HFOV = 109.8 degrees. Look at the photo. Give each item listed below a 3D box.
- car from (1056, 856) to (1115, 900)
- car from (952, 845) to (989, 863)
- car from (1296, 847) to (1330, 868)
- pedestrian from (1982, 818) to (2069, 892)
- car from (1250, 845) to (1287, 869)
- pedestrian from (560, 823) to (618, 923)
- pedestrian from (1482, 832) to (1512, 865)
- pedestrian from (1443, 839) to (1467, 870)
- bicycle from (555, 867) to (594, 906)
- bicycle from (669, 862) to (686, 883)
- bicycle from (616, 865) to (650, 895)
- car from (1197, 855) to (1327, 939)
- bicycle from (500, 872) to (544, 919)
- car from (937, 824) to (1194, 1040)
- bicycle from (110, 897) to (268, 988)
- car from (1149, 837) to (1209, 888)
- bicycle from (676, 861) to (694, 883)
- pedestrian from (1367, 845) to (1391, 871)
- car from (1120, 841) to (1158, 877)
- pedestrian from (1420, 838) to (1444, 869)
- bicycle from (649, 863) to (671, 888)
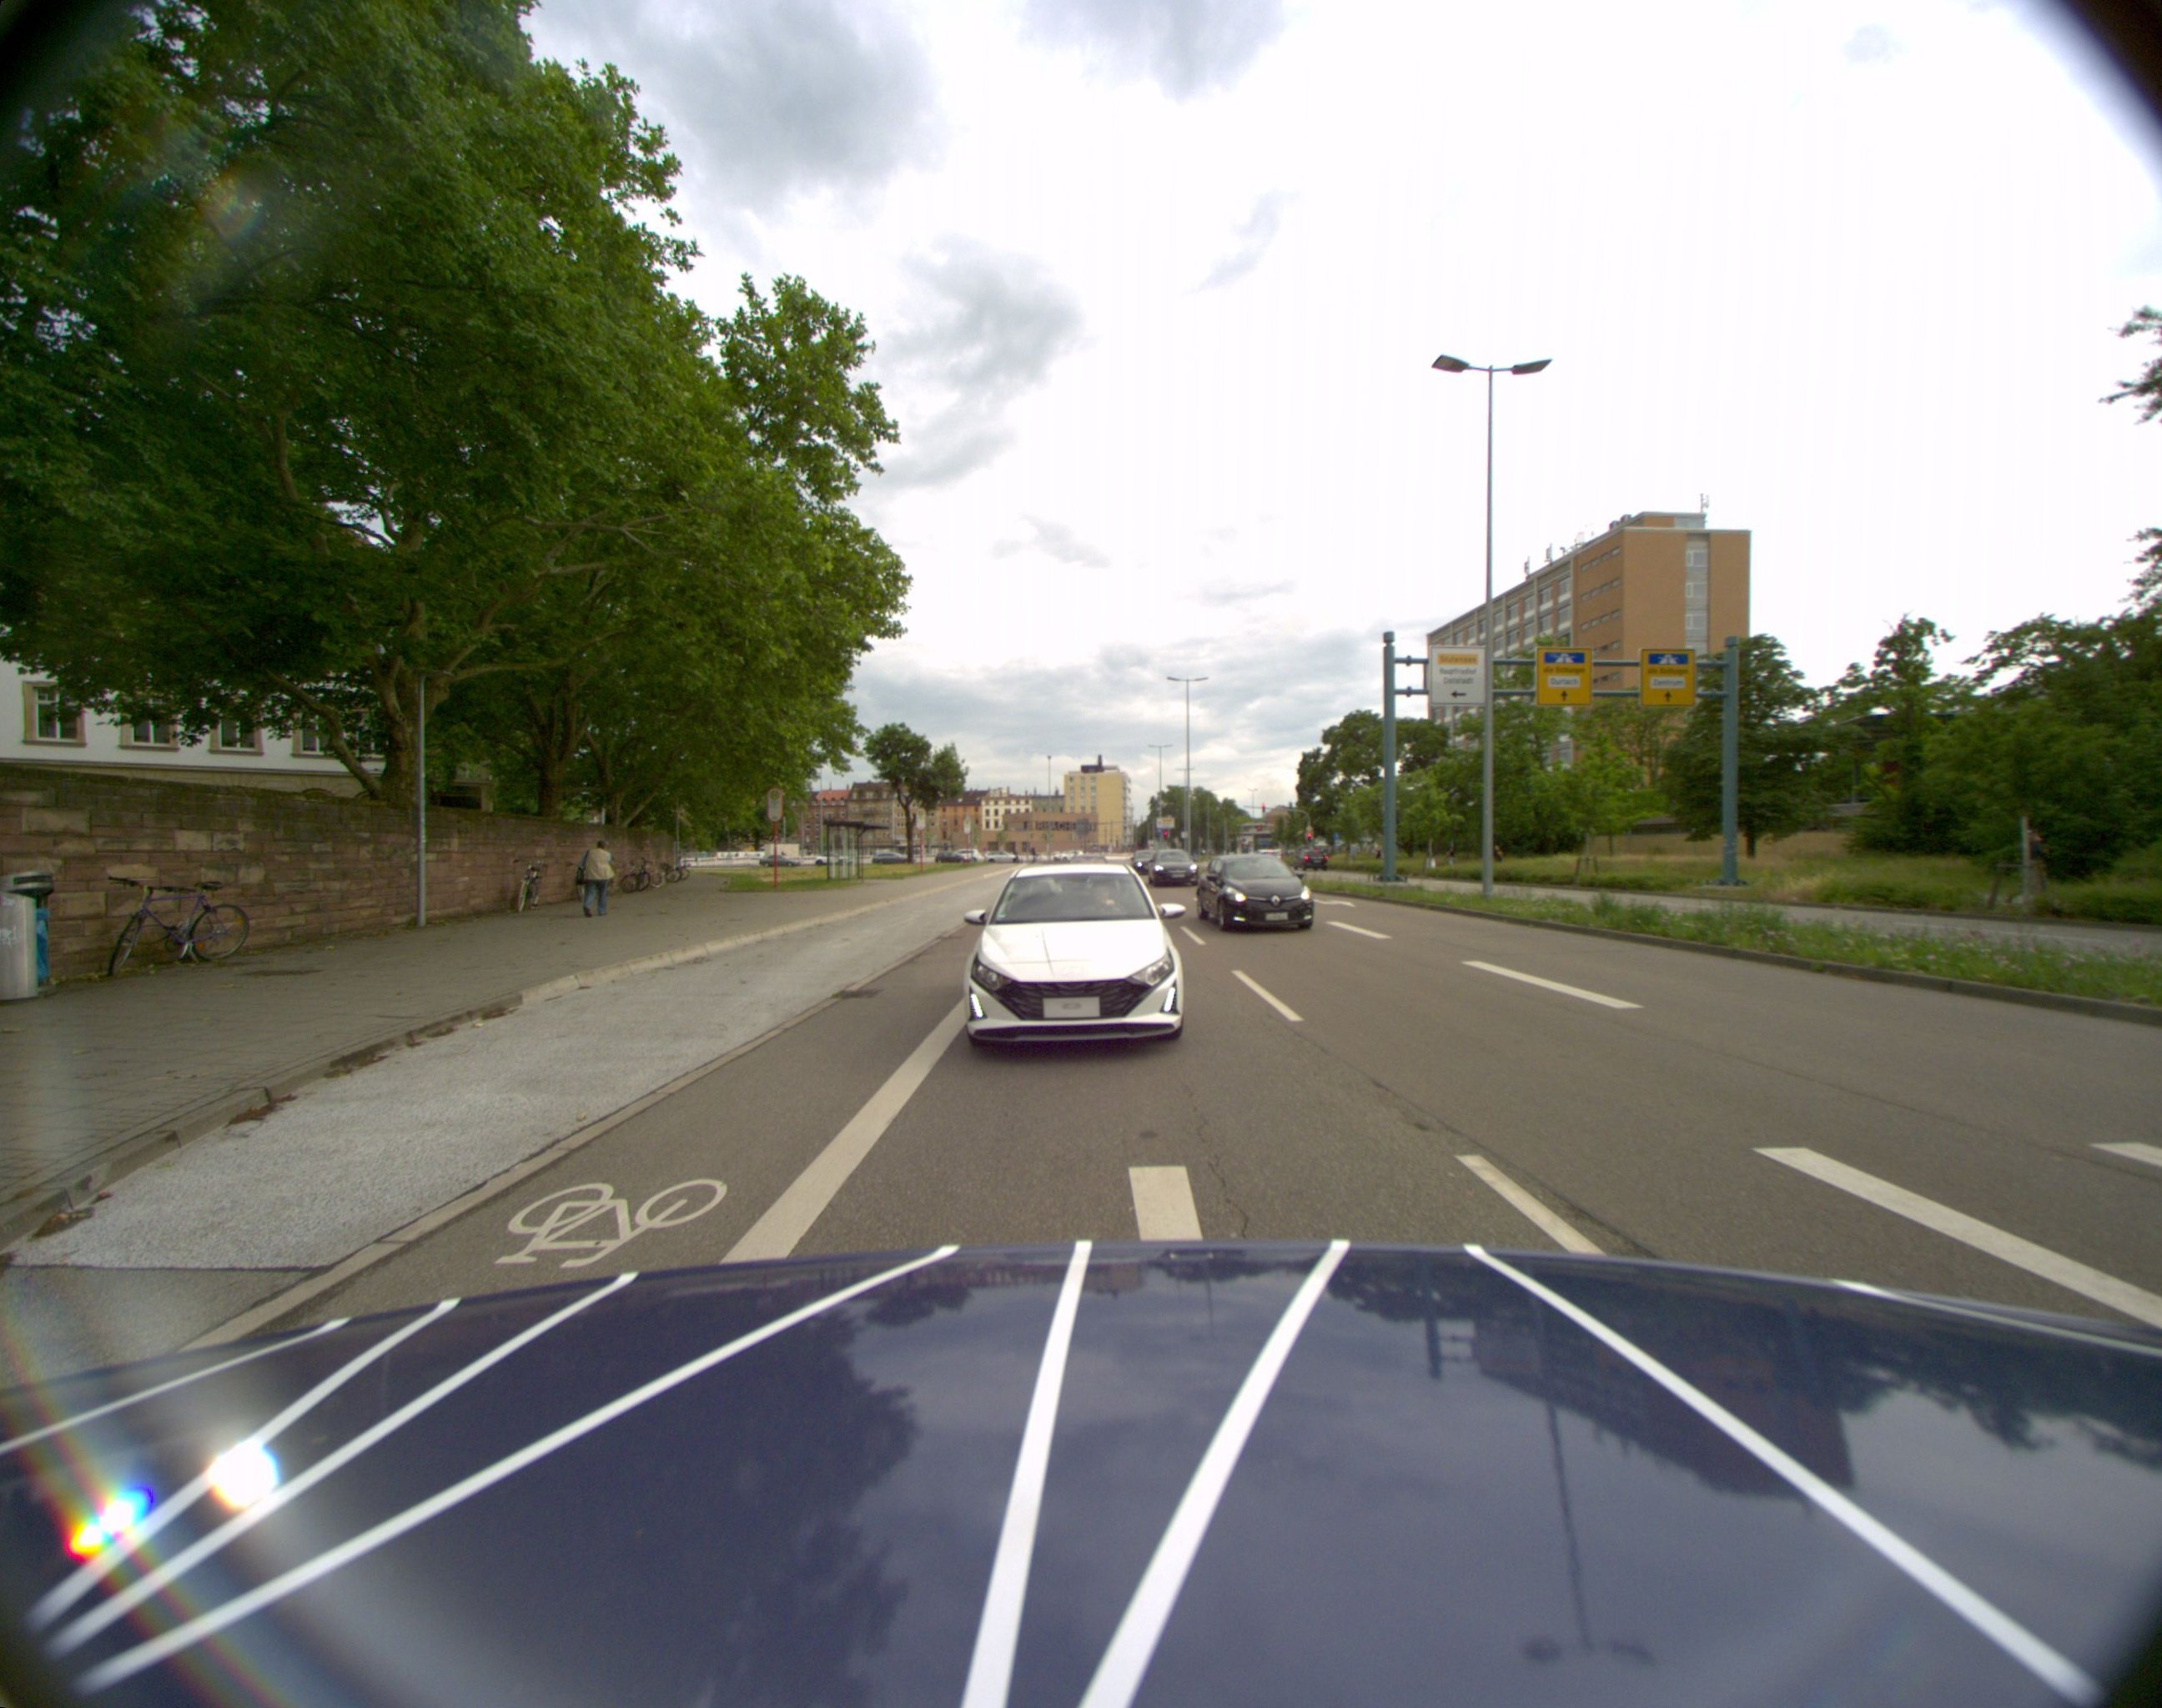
[{"bbox_3d":[0.176,0.800,27.587,1.998,1.422,4.000,0,1,1],"label":"car"},{"bbox_3d":[-13.577,0.025,93.307,4.286,2.002,1.998,-2,1,-13],"label":"car"},{"bbox_3d":[17.982,0.226,59.014,1.854,1.543,4.002,-1,1,7],"label":"car"},{"bbox_3d":[21.560,0.015,17.358,0.990,1.616,0.813,-2,1,-2],"label":"pedestrian"},{"bbox_3d":[14.825,0.236,60.151,1.893,1.763,3.999,-2,1,0],"label":"car"},{"bbox_3d":[-10.231,0.383,15.824,0.784,2.002,0.888,0,0,-17],"label":"pedestrian"},{"bbox_3d":[25.367,-0.334,46.348,1.137,1.908,1.162,-2,1,4],"label":"pedestrian"},{"bbox_3d":[25.065,0.017,50.930,0.882,2.002,1.220,-2,1,-7],"label":"pedestrian"},{"bbox_3d":[-13.659,0.851,20.518,0.482,0.934,1.895,-1,1,-22],"label":"bicycle"},{"bbox_3d":[-18.989,0.865,35.779,0.561,0.934,1.351,-1,1,-22],"label":"bicycle"},{"bbox_3d":[-15.172,0.859,25.770,0.655,0.934,1.953,-1,1,-22],"label":"bicycle"},{"bbox_3d":[3.520,0.766,15.497,1.732,1.450,4.000,0,1,1],"label":"car"},{"bbox_3d":[-12.405,0.902,16.892,0.365,0.934,1.638,-1,1,-21],"label":"bicycle"},{"bbox_3d":[-0.079,0.535,7.372,1.813,1.533,4.000,0,1,1],"label":"car"},{"bbox_3d":[-10.618,1.014,9.115,0.291,0.880,1.609,0,1,-12],"label":"bicycle"},{"bbox_3d":[3.984,0.313,31.547,1.998,2.002,4.000,0,1,1],"label":"car"},{"bbox_3d":[-20.589,0.916,39.522,0.693,1.078,1.650,-1,1,-22],"label":"bicycle"},{"bbox_3d":[23.831,0.302,60.818,1.223,2.002,1.520,-2,1,0],"label":"pedestrian"},{"bbox_3d":[3.393,0.259,45.040,1.998,2.002,4.000,0,1,1],"label":"car"},{"bbox_3d":[23.787,-0.049,51.505,0.882,2.002,1.220,-2,1,-7],"label":"pedestrian"},{"bbox_3d":[-16.990,0.860,30.700,0.569,0.934,1.764,-1,1,-22],"label":"bicycle"}]
